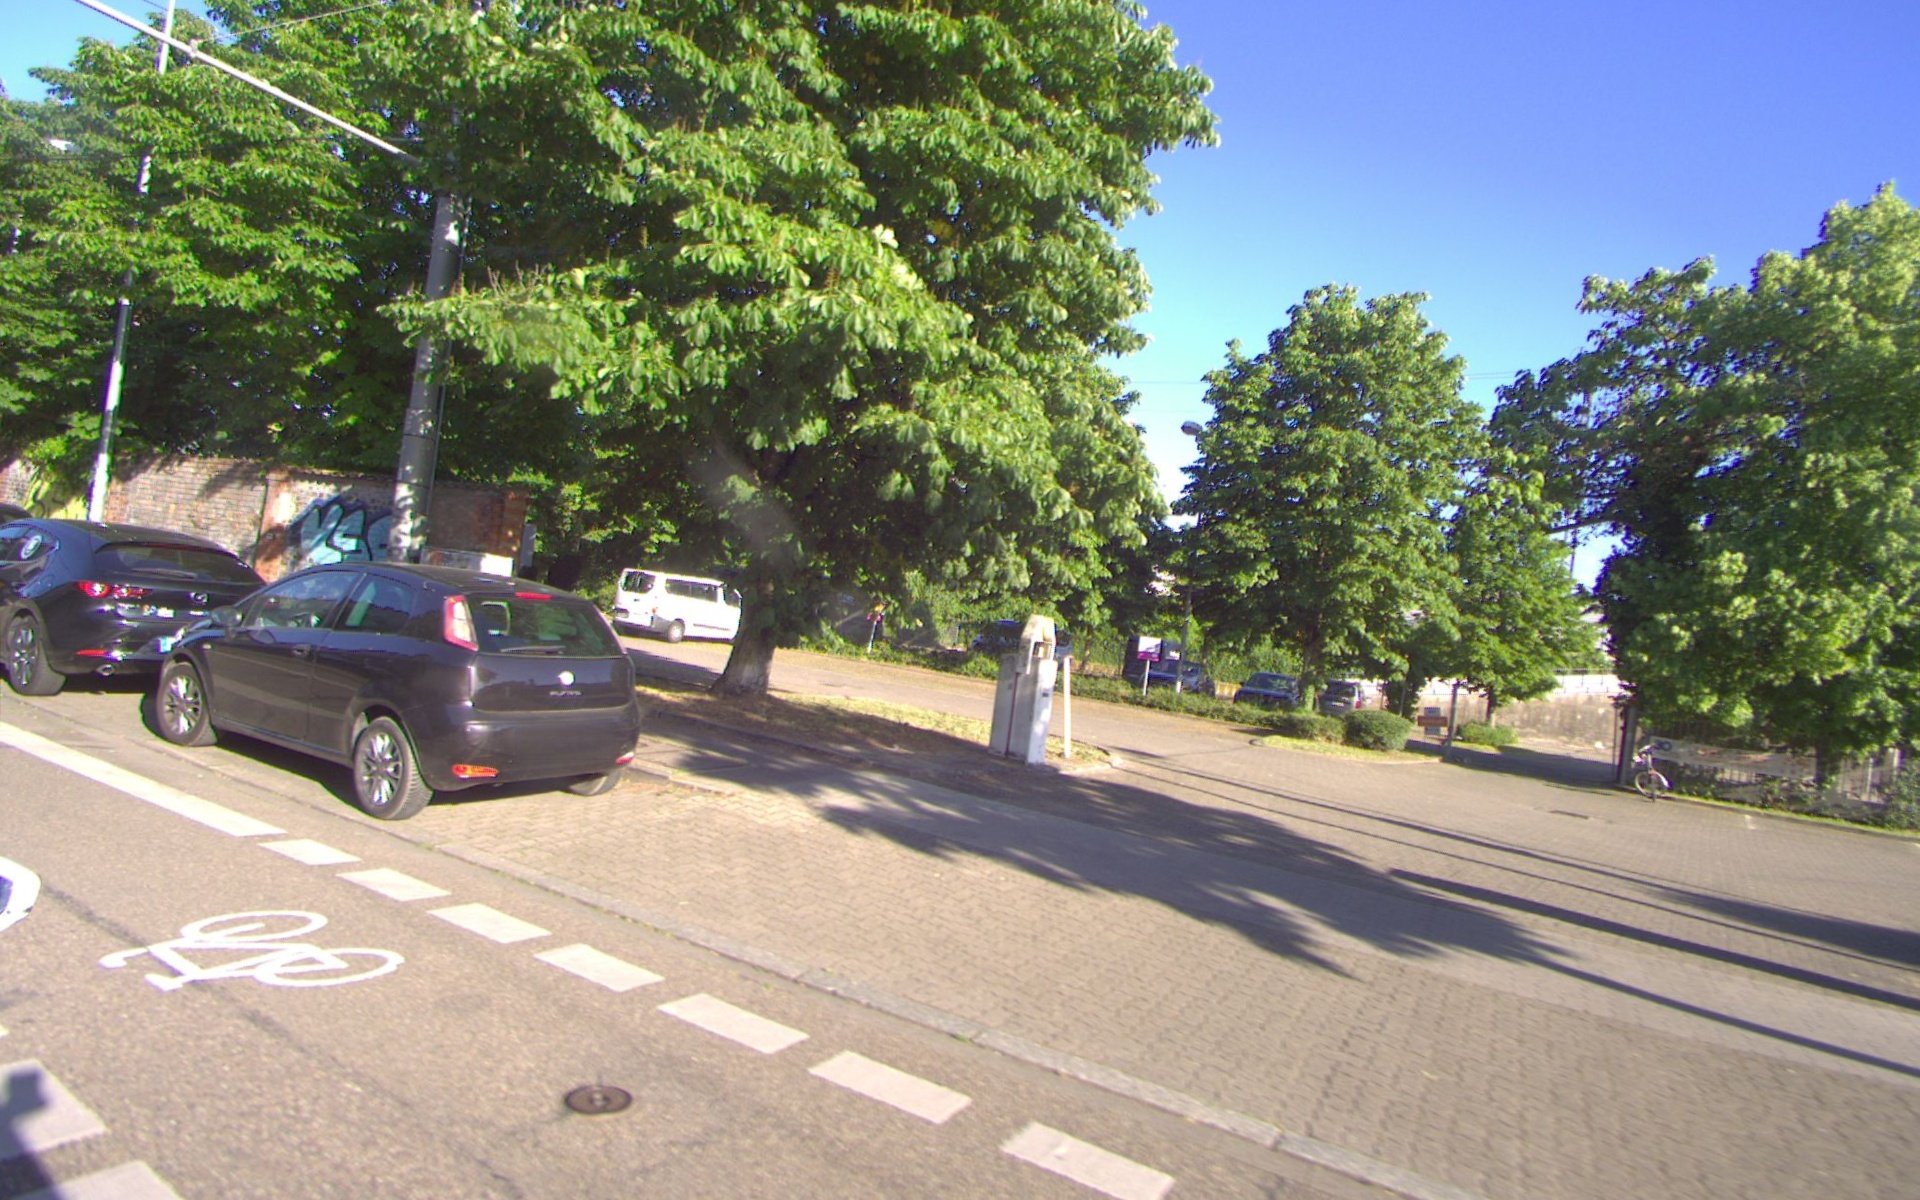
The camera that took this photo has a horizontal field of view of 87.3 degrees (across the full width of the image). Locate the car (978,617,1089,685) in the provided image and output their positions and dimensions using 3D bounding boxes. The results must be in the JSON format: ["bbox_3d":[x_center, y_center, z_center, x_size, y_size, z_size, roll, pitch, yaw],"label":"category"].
[{"bbox_3d":[2.703,1.867,35.884,1.929,1.835,4.698,7,-4,30],"label":"car"}]

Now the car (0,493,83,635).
[{"bbox_3d":[-12.439,-0.621,12.075,3.934,1.548,1.691,7,-1,32],"label":"car"}]

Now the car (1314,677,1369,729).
[{"bbox_3d":[16.625,4.463,43.737,1.713,1.944,4.140,7,-2,26],"label":"car"}]

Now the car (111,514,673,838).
[{"bbox_3d":[-4.145,0.395,7.189,3.934,1.548,1.691,7,-1,32],"label":"car"}]

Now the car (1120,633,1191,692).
[{"bbox_3d":[9.205,2.965,47.146,2.034,2.328,4.200,7,-2,26],"label":"car"}]

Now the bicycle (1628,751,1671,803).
[{"bbox_3d":[14.526,3.715,21.218,0.540,0.951,1.843,7,-3,32],"label":"bicycle"}]

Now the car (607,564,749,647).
[{"bbox_3d":[-8.459,0.225,30.525,1.776,1.881,3.921,7,-3,27],"label":"car"}]

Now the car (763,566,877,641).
[{"bbox_3d":[-5.273,0.188,38.402,2.105,2.267,4.200,7,-2,26],"label":"car"}]

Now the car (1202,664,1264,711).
[{"bbox_3d":[12.406,3.993,45.572,1.729,1.705,4.002,7,-3,27],"label":"car"}]

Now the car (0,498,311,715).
[{"bbox_3d":[-8.086,-0.057,9.324,4.283,1.548,1.691,7,-1,32],"label":"car"}]
